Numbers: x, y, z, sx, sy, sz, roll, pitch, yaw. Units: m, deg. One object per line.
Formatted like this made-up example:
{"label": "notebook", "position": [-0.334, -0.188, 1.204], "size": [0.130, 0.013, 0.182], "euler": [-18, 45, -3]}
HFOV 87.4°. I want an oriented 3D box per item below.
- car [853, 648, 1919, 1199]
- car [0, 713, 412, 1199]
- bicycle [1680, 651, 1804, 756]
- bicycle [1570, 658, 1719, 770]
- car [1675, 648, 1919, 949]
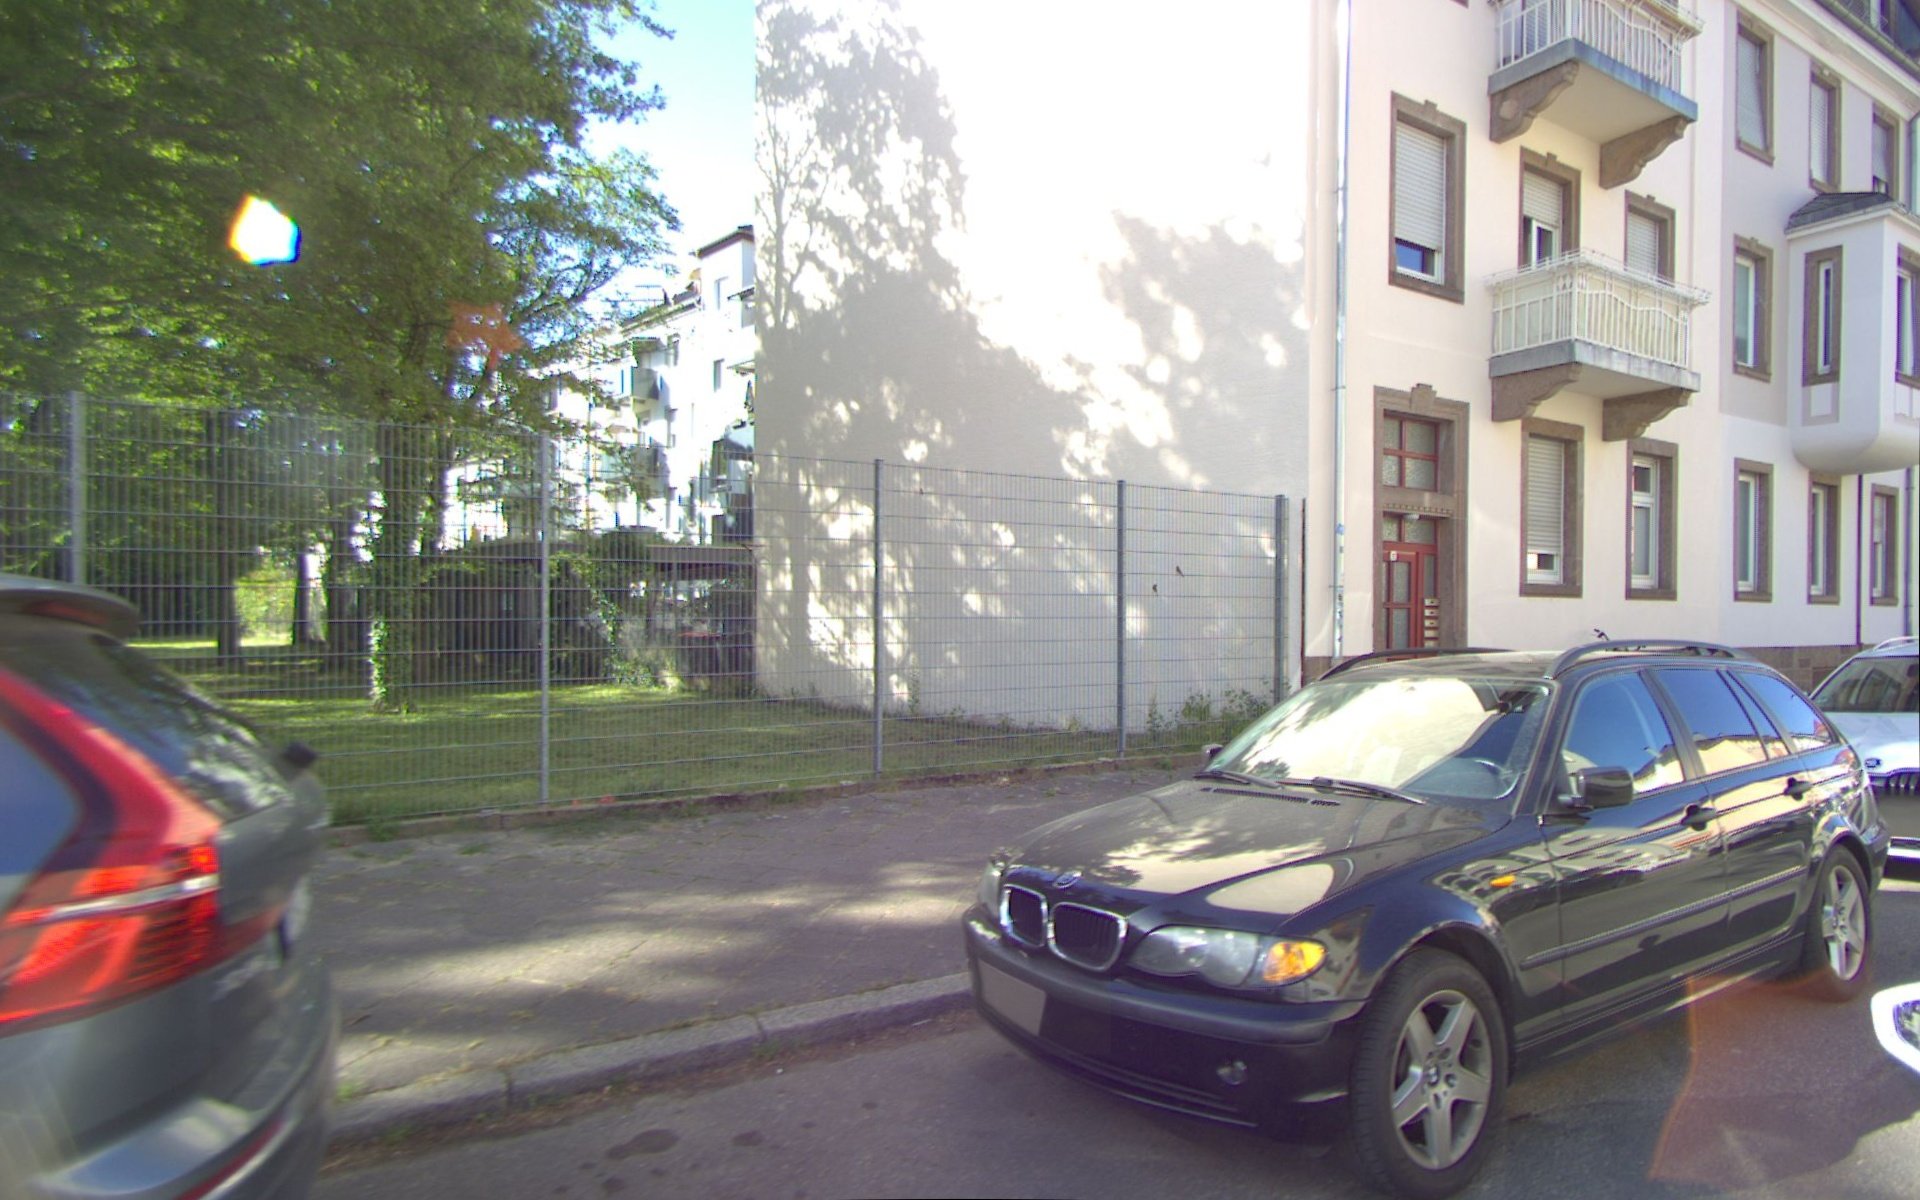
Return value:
{"label": "car", "position": [1.973, 1.049, 3.921], "size": [4.406, 1.582, 1.785], "euler": [1, -5, -30]}
{"label": "car", "position": [-3.238, 1.079, 0.804], "size": [4.874, 1.685, 1.870], "euler": [0, -5, -31]}
{"label": "bicycle", "position": [11.108, 1.424, 14.240], "size": [2.313, 1.296, 0.566], "euler": [-1, -1, -31]}
{"label": "bicycle", "position": [8.667, 1.389, 12.684], "size": [2.313, 1.220, 0.626], "euler": [-1, -1, -31]}
{"label": "car", "position": [7.032, 1.118, 6.877], "size": [4.591, 1.560, 1.784], "euler": [-1, -7, -33]}
